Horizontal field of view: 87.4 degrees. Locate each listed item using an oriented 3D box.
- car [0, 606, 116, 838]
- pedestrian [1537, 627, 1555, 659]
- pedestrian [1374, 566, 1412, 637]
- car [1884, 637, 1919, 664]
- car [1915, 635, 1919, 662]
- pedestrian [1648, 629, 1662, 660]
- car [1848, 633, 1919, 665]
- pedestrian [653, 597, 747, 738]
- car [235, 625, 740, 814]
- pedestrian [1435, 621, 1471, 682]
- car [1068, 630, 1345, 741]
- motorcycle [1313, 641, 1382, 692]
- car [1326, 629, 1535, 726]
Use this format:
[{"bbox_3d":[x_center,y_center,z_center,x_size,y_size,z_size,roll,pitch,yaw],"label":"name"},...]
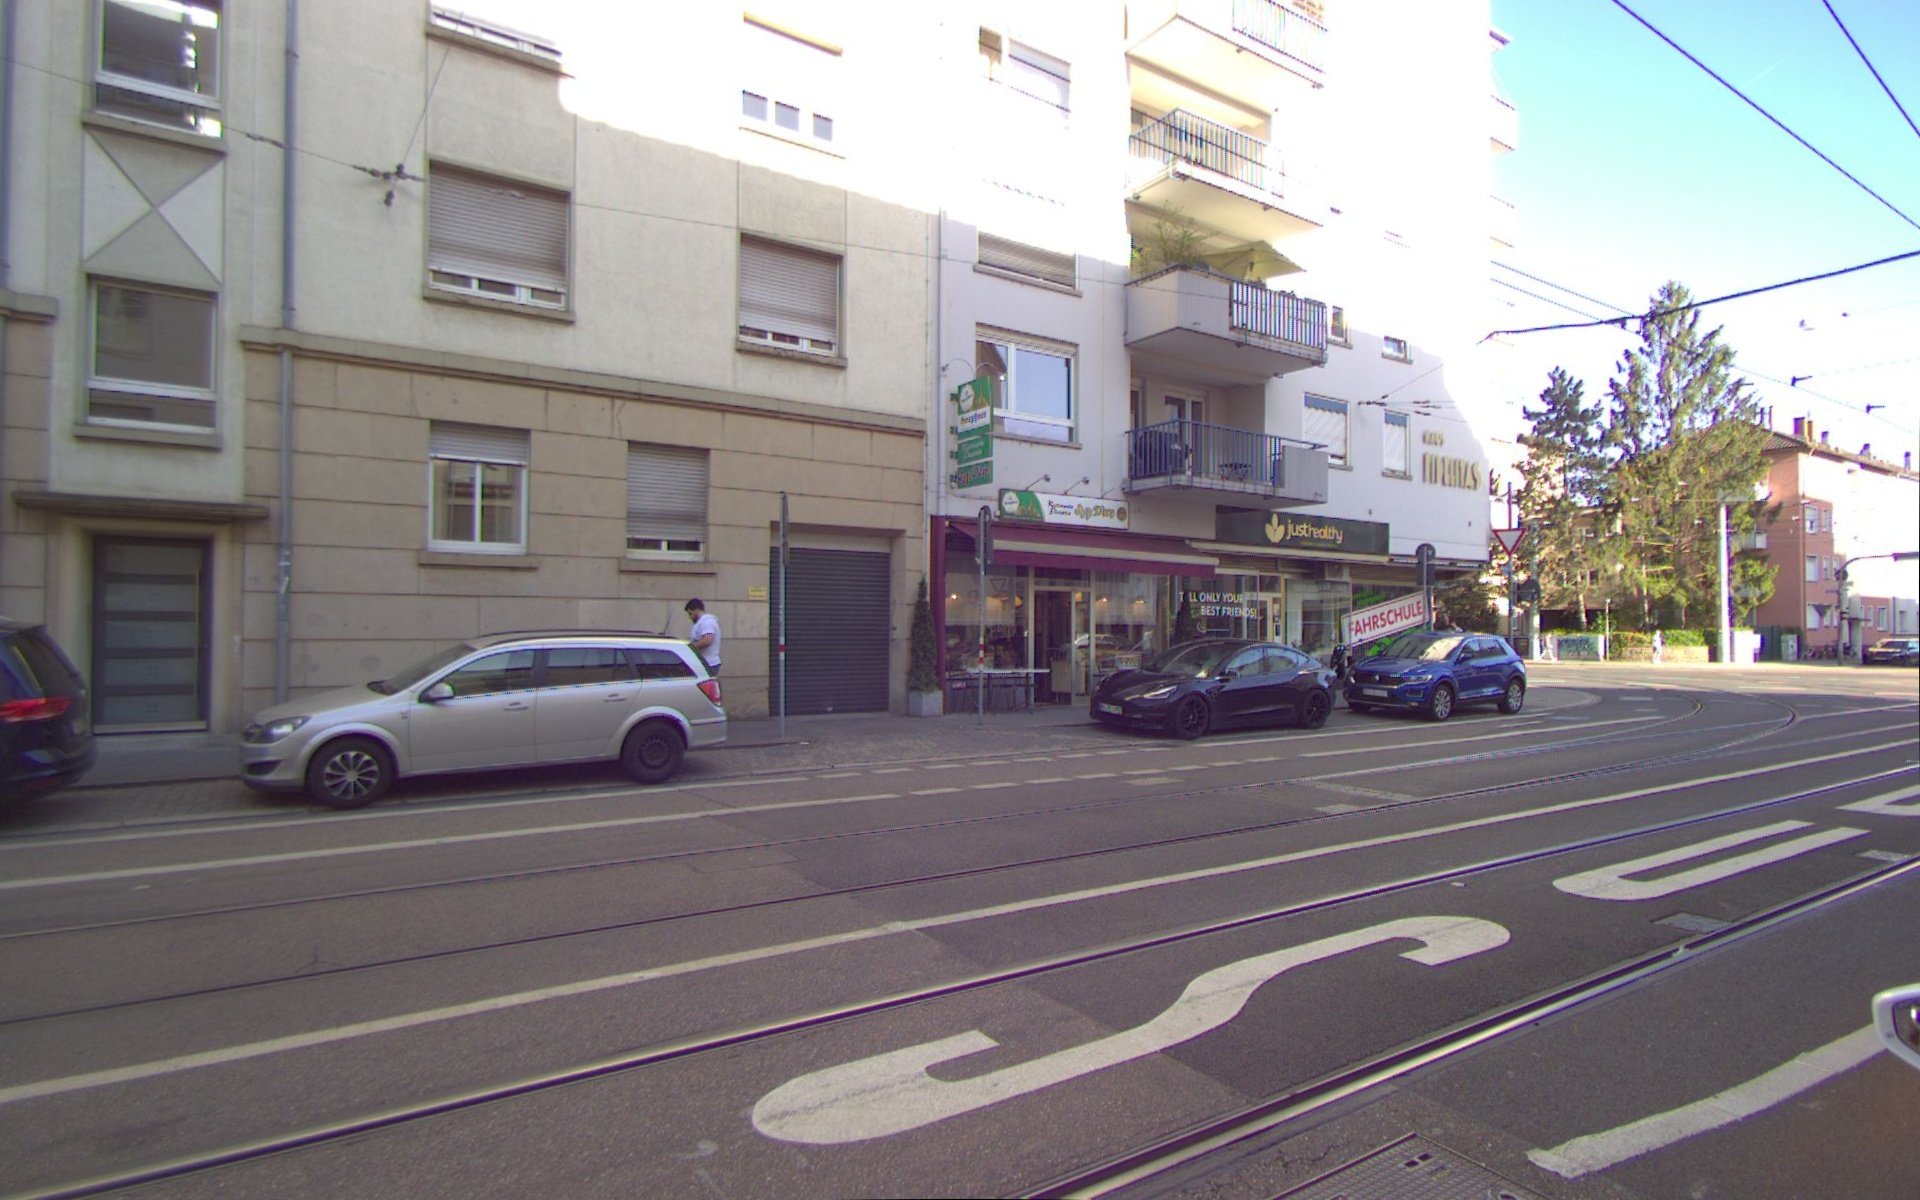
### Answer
[{"bbox_3d":[-8.973,0.864,7.190,4.282,1.655,1.802,2,1,-35],"label":"car"},{"bbox_3d":[32.692,2.384,56.041,0.772,1.744,0.702,2,0,37],"label":"pedestrian"},{"bbox_3d":[12.160,0.053,28.220,0.727,1.925,0.573,3,-2,-15],"label":"pedestrian"},{"bbox_3d":[54.282,2.867,56.873,4.057,1.456,1.893,2,0,-32],"label":"car"},{"bbox_3d":[58.332,2.916,59.412,4.185,1.546,1.731,2,0,-34],"label":"car"},{"bbox_3d":[36.294,2.340,52.449,0.509,1.589,0.572,2,0,33],"label":"pedestrian"},{"bbox_3d":[49.731,2.645,53.886,4.397,1.450,2.140,4,-1,-35],"label":"car"},{"bbox_3d":[-3.473,0.879,13.437,0.998,1.791,0.656,2,0,-40],"label":"pedestrian"},{"bbox_3d":[-4.623,1.058,10.184,4.327,1.474,1.714,2,1,-35],"label":"car"},{"bbox_3d":[14.756,1.530,30.075,0.653,1.816,0.733,1,-1,-27],"label":"pedestrian"},{"bbox_3d":[4.004,1.286,16.055,4.398,1.494,1.759,2,0,-33],"label":"car"},{"bbox_3d":[9.225,1.572,23.912,1.778,1.149,0.603,2,0,-34],"label":"motorcycle"},{"bbox_3d":[8.999,1.379,19.099,4.196,1.524,1.757,0,1,-36],"label":"car"}]
